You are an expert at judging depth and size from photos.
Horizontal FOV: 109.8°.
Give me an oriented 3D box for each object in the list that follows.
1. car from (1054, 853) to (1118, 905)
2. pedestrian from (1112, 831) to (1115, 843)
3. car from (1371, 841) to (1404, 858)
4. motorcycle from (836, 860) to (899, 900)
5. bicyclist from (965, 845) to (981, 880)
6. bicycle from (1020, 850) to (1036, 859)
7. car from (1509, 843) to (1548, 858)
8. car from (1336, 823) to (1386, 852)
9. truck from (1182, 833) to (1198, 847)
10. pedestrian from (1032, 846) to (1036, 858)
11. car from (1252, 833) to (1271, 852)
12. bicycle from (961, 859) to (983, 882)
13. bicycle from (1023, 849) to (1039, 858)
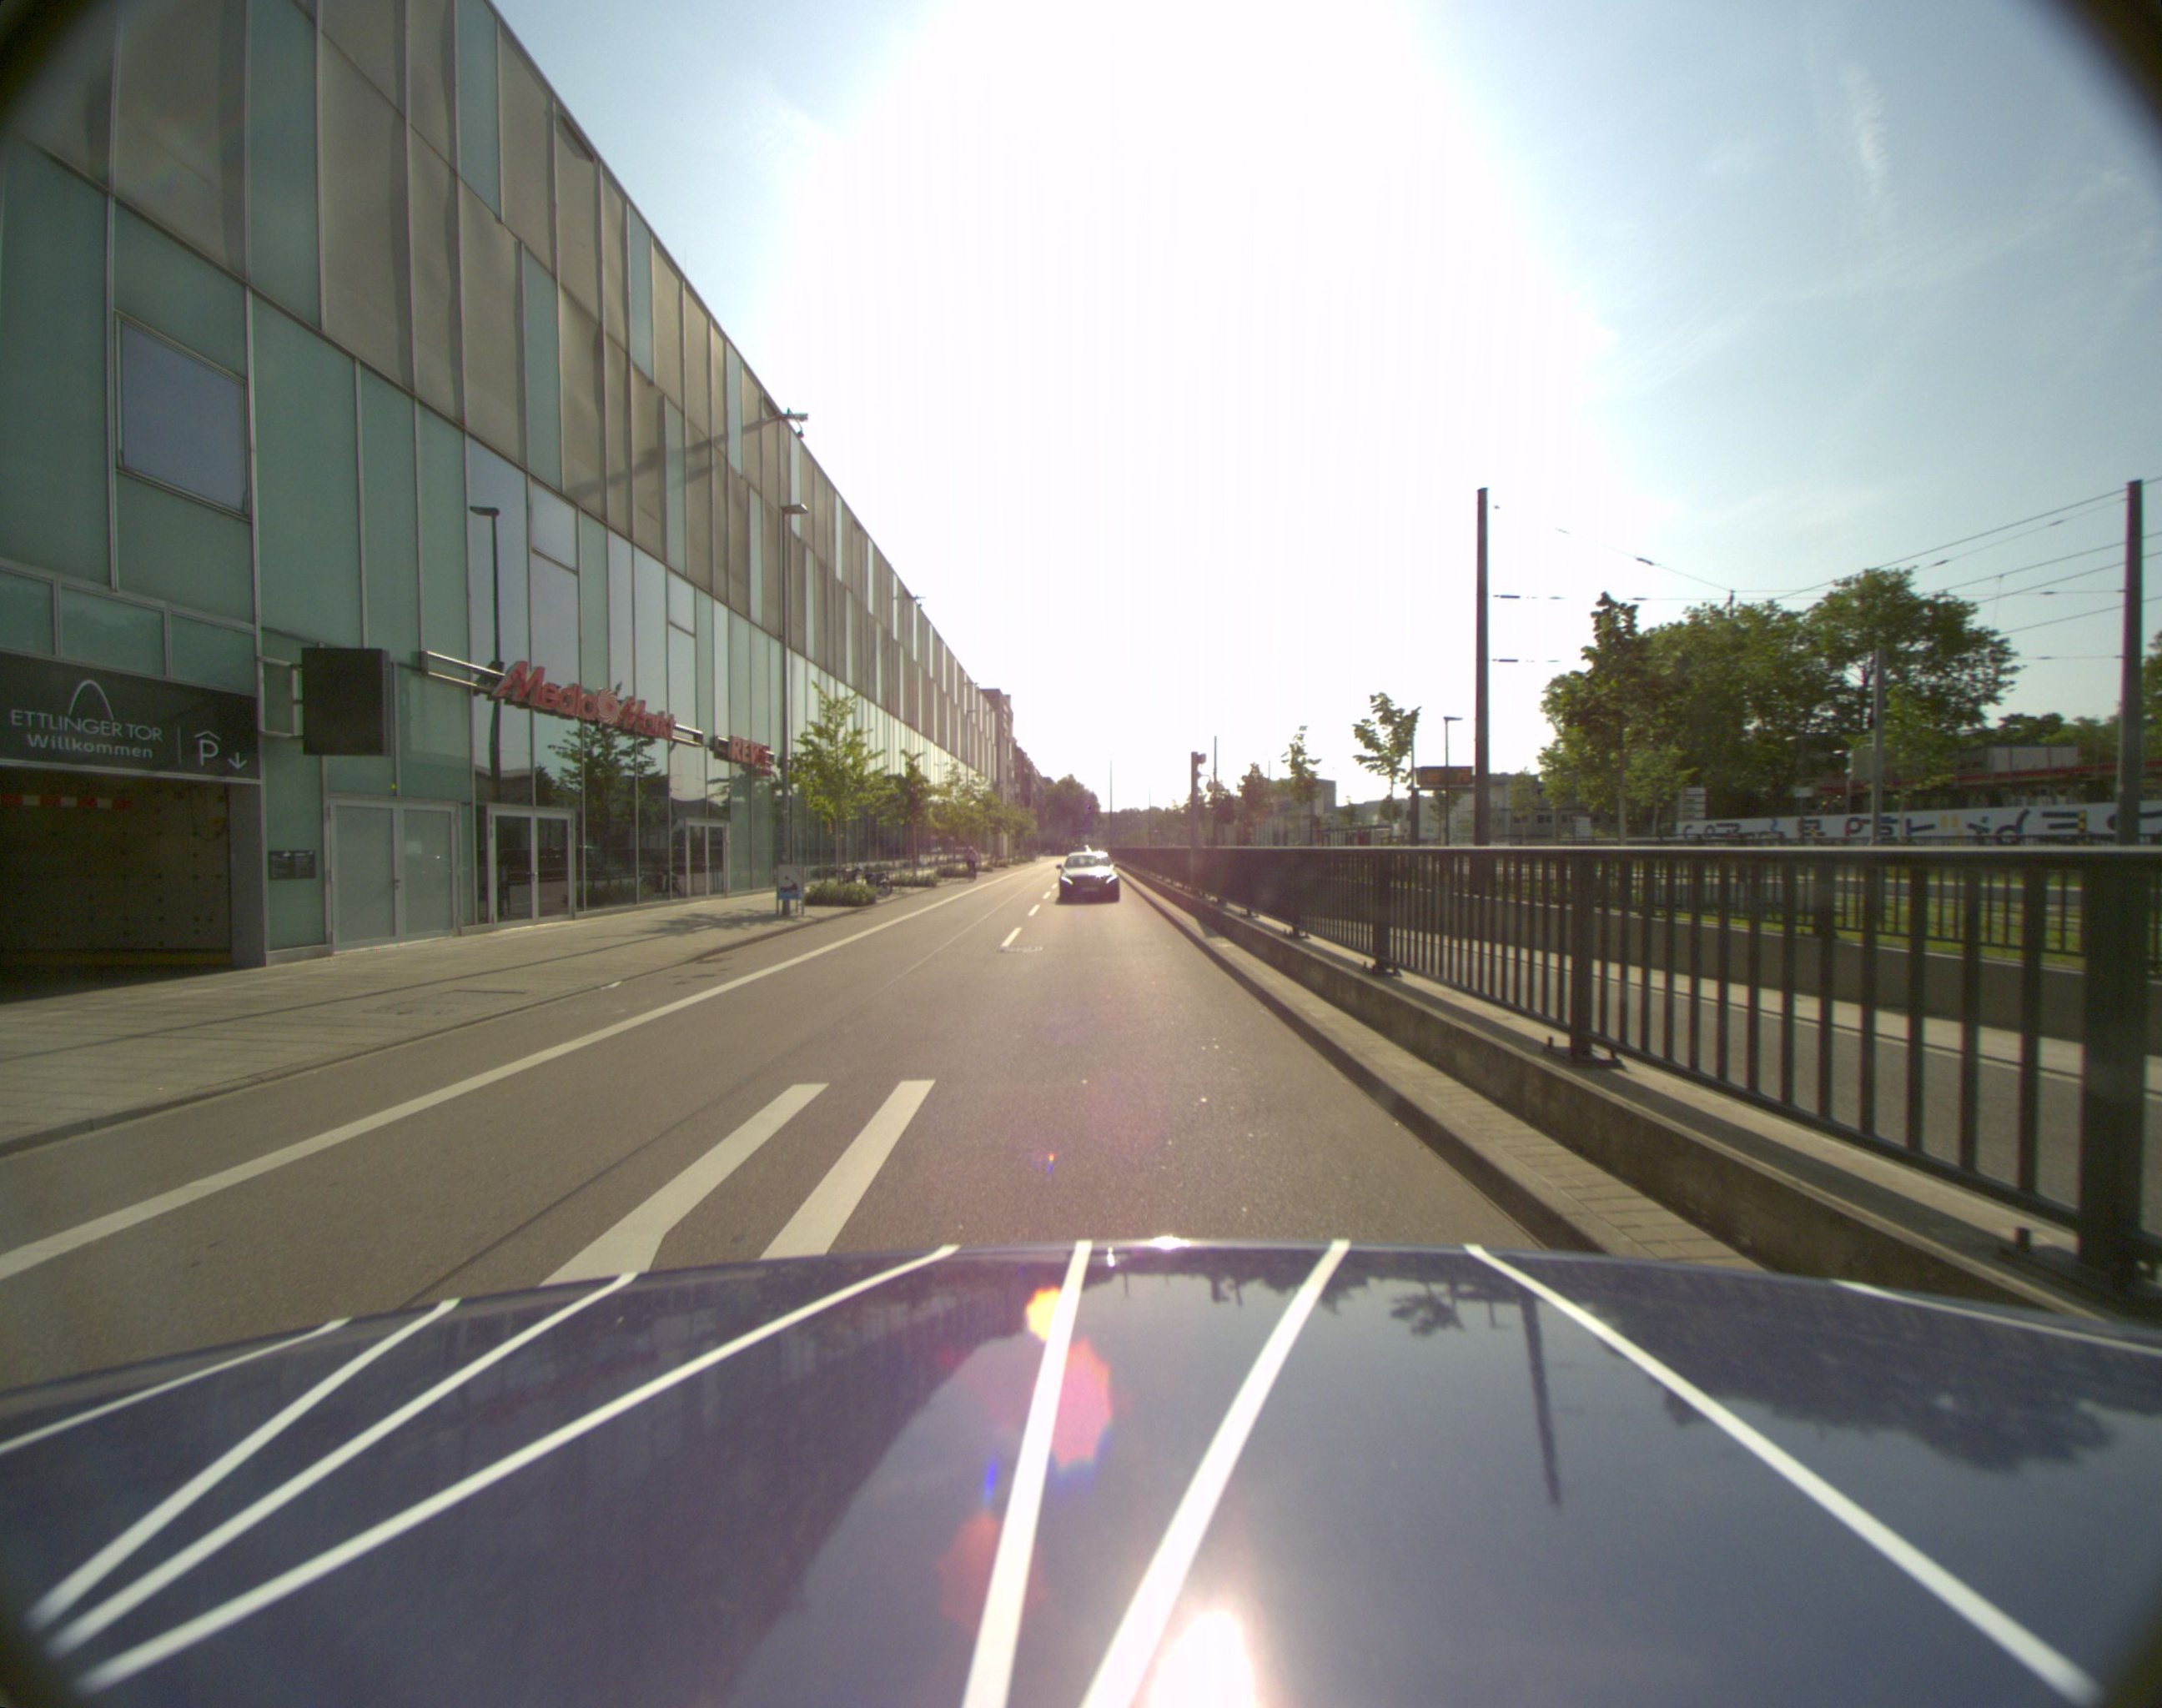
[{"bbox_3d":[0.274,0.713,24.162,1.716,1.429,5.058,-1,1,4],"label":"car"},{"bbox_3d":[4.641,-2.397,108.840,0.468,1.640,0.777,-1,1,1],"label":"pedestrian"},{"bbox_3d":[30.979,-0.472,76.868,1.725,1.653,4.150,0,1,1],"label":"car"},{"bbox_3d":[-7.259,0.869,25.963,1.975,1.342,0.866,0,1,-9],"label":"motorcycle"},{"bbox_3d":[-5.502,0.434,38.759,0.652,1.739,0.769,0,1,4],"label":"bicyclist"},{"bbox_3d":[-6.391,0.076,91.141,1.882,1.103,0.490,0,1,3],"label":"bicycle"},{"bbox_3d":[36.135,-0.281,61.417,1.504,1.195,2.960,-1,1,1],"label":"car"},{"bbox_3d":[35.370,-2.014,96.335,3.061,3.493,9.232,-1,1,1],"label":"car"},{"bbox_3d":[29.014,-3.621,202.731,3.029,3.565,8.890,0,0,1],"label":"truck"},{"bbox_3d":[-6.788,-0.319,108.874,0.468,1.640,0.777,-1,1,1],"label":"pedestrian"},{"bbox_3d":[33.496,-2.068,141.336,2.148,3.496,6.151,-1,1,1],"label":"car"},{"bbox_3d":[-5.519,0.800,38.584,0.662,1.111,2.051,0,1,4],"label":"bicycle"},{"bbox_3d":[-6.272,-0.045,95.316,1.843,1.106,0.687,-2,1,3],"label":"bicycle"}]
